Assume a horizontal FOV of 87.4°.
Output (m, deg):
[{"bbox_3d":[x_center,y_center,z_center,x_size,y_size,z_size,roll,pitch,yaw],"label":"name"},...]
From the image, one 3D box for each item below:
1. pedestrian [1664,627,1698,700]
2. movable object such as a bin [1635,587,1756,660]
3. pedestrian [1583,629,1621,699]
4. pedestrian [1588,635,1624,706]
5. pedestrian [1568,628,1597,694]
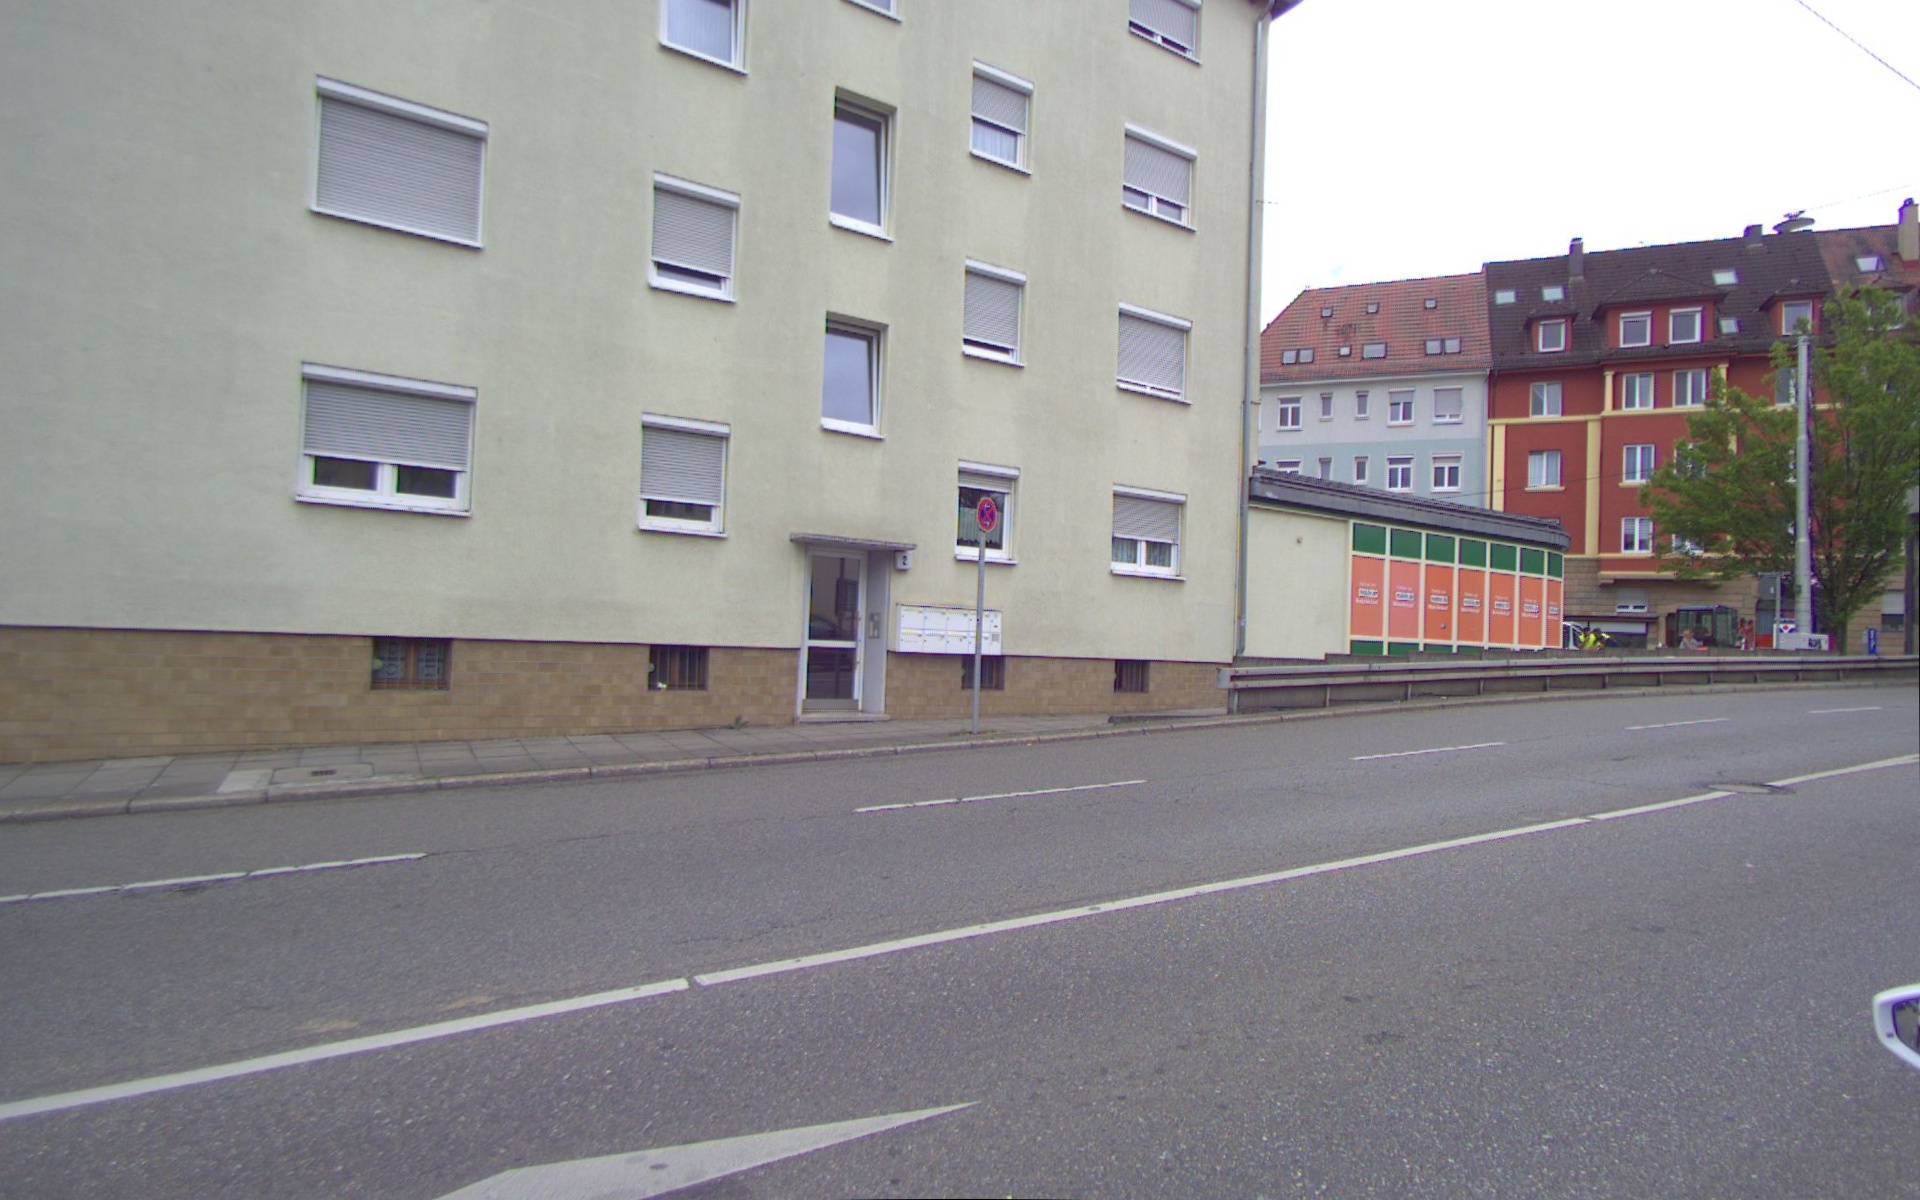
[{"bbox_3d":[17.976,1.577,25.045,0.533,1.753,0.593,3,1,27],"label":"pedestrian"},{"bbox_3d":[20.051,0.623,27.326,3.971,1.795,1.884,1,1,-43],"label":"movable object such as a bin"},{"bbox_3d":[16.969,1.672,26.557,0.605,1.785,0.573,2,1,6],"label":"pedestrian"},{"bbox_3d":[16.279,1.755,25.310,0.539,1.722,0.557,1,1,-40],"label":"pedestrian"},{"bbox_3d":[17.108,1.676,27.600,0.467,1.753,0.543,2,1,15],"label":"pedestrian"}]
